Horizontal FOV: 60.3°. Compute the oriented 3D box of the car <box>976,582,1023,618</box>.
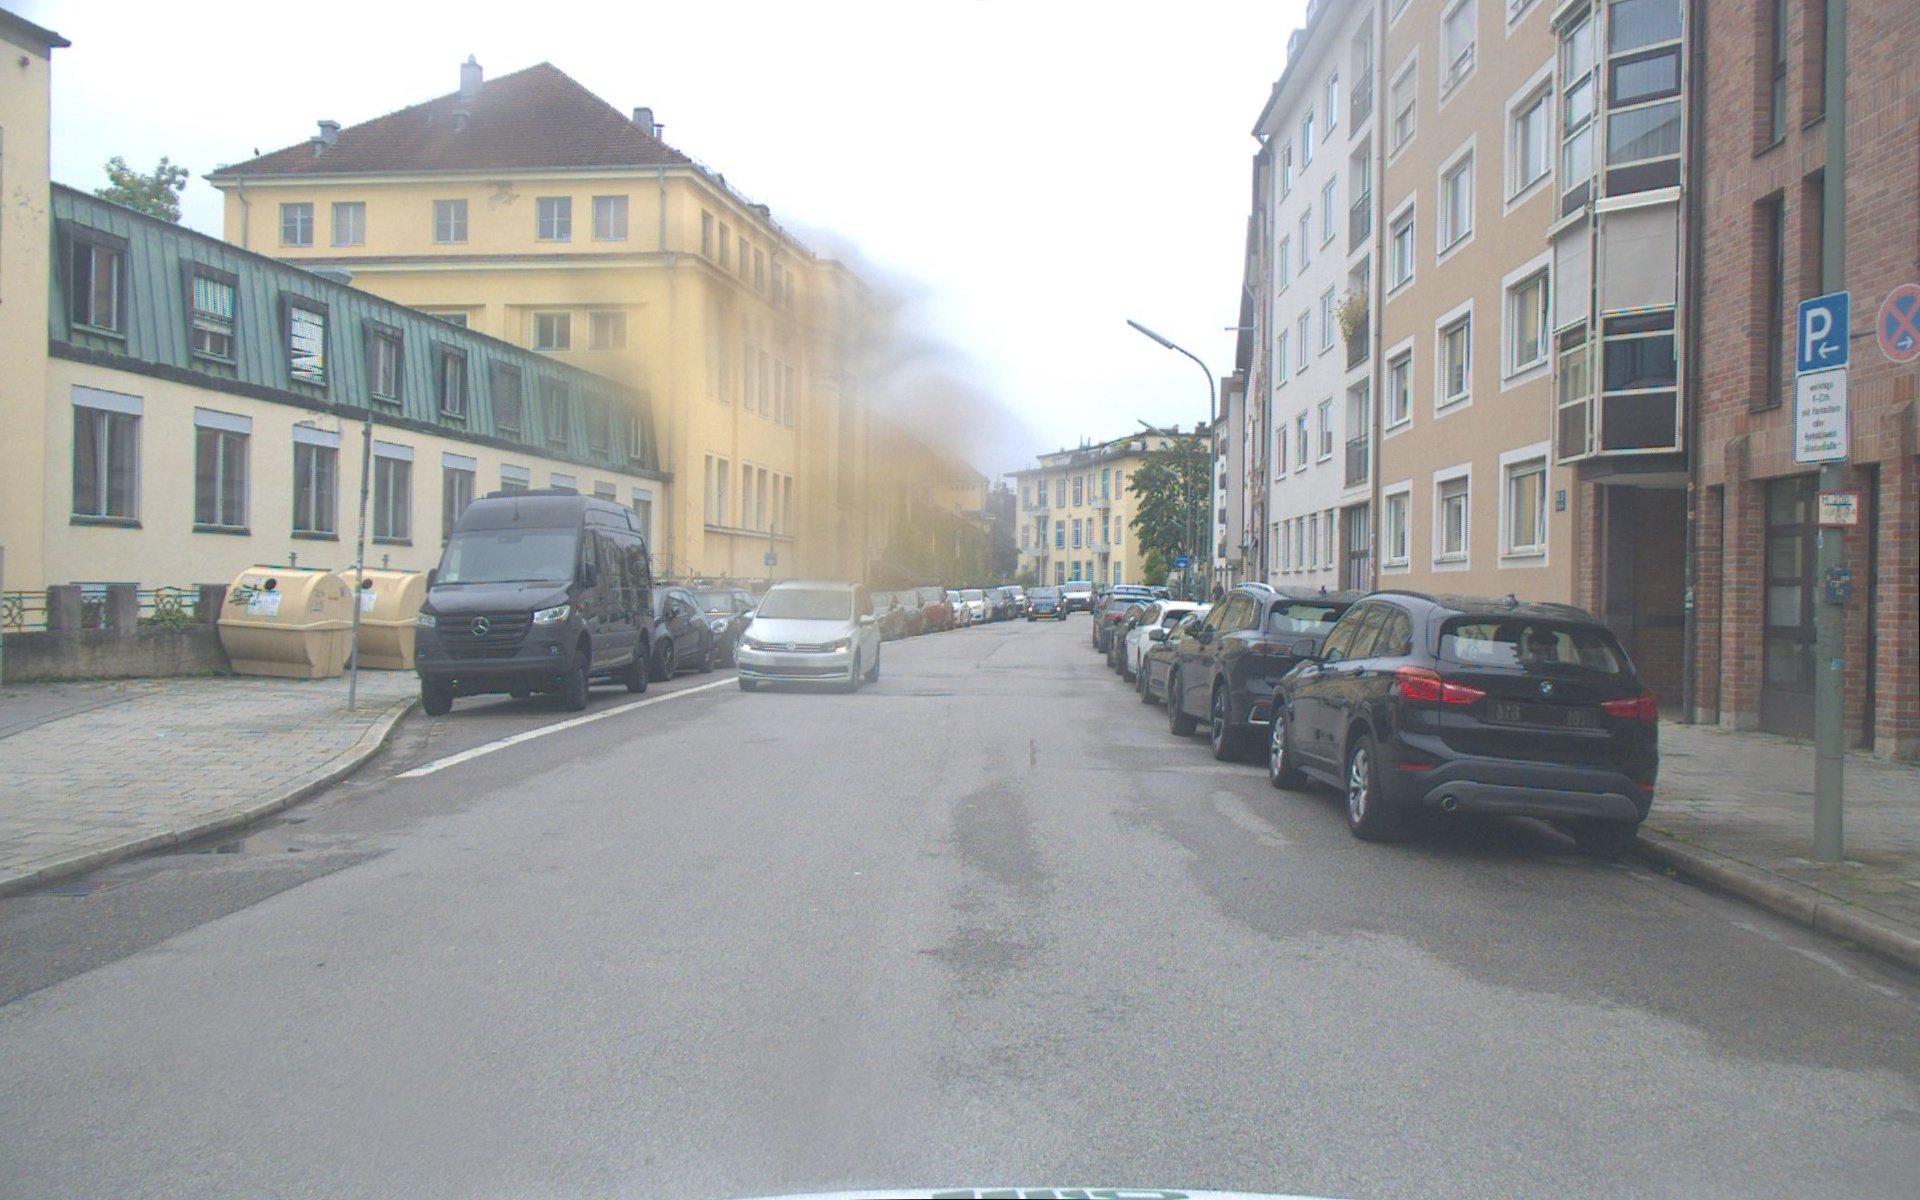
[{"bbox_3d":[1.962,-0.010,81.463,1.951,1.575,4.003,3,2,5],"label":"car"}]

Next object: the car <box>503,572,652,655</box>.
[{"bbox_3d":[-8.770,0.266,38.276,1.951,1.716,4.004,3,2,8],"label":"car"}]

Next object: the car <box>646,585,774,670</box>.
[{"bbox_3d":[-4.960,0.498,33.277,1.663,1.478,3.744,3,2,5],"label":"car"}]

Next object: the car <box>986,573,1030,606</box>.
[{"bbox_3d":[2.527,-0.578,86.270,1.951,1.575,4.003,3,2,5],"label":"car"}]

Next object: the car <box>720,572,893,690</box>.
[{"bbox_3d":[-2.284,0.485,25.794,1.983,1.650,4.507,-1,-1,4],"label":"car"}]

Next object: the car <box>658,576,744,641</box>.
[{"bbox_3d":[-7.309,0.210,46.910,1.571,1.689,2.811,3,1,8],"label":"car"}]

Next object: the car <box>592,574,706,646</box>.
[{"bbox_3d":[-7.992,0.224,42.803,1.683,1.689,3.751,3,2,8],"label":"car"}]

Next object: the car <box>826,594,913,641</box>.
[{"bbox_3d":[-2.629,0.479,48.833,1.859,1.167,4.234,3,2,6],"label":"car"}]

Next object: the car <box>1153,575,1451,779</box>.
[{"bbox_3d":[3.250,0.637,16.726,1.924,1.629,4.671,2,2,-1],"label":"car"}]

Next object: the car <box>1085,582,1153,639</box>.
[{"bbox_3d":[5.020,0.297,52.606,1.848,1.658,4.432,2,0,2],"label":"car"}]

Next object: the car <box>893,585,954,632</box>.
[{"bbox_3d":[-1.243,0.281,58.079,1.662,1.469,3.511,3,2,6],"label":"car"}]

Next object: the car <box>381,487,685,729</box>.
[{"bbox_3d":[-5.407,0.110,21.982,2.372,2.762,5.953,0,0,1],"label":"car"}]

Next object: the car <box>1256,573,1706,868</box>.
[{"bbox_3d":[3.475,0.686,11.948,1.793,1.629,4.266,2,2,-1],"label":"car"}]

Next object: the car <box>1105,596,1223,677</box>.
[{"bbox_3d":[4.030,0.684,33.351,1.848,1.434,4.431,2,0,1],"label":"car"}]

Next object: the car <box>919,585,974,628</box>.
[{"bbox_3d":[-0.492,0.232,63.907,1.662,1.469,3.511,3,2,7],"label":"car"}]

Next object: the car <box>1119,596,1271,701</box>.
[{"bbox_3d":[3.795,0.728,27.481,1.848,1.501,4.744,2,0,1],"label":"car"}]

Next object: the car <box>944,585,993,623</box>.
[{"bbox_3d":[0.382,0.158,71.220,1.662,1.469,3.511,3,2,7],"label":"car"}]

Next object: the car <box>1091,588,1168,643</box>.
[{"bbox_3d":[4.818,0.419,47.461,1.848,1.434,4.432,2,0,2],"label":"car"}]

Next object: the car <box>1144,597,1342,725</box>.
[{"bbox_3d":[3.617,0.730,21.907,1.848,1.345,4.275,2,2,0],"label":"car"}]

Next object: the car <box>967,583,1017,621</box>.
[{"bbox_3d":[1.505,0.068,76.635,1.951,1.575,4.003,3,2,5],"label":"car"}]

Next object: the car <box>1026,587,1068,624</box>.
[{"bbox_3d":[3.960,0.230,74.626,1.662,1.469,3.511,3,2,6],"label":"car"}]

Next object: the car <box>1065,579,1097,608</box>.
[{"bbox_3d":[6.846,-0.369,93.269,1.662,1.469,3.511,3,2,6],"label":"car"}]

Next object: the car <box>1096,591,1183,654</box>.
[{"bbox_3d":[4.489,0.524,41.941,1.848,1.434,4.432,2,0,2],"label":"car"}]

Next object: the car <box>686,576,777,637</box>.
[{"bbox_3d":[-6.882,0.156,50.221,1.683,1.689,3.751,3,2,8],"label":"car"}]
